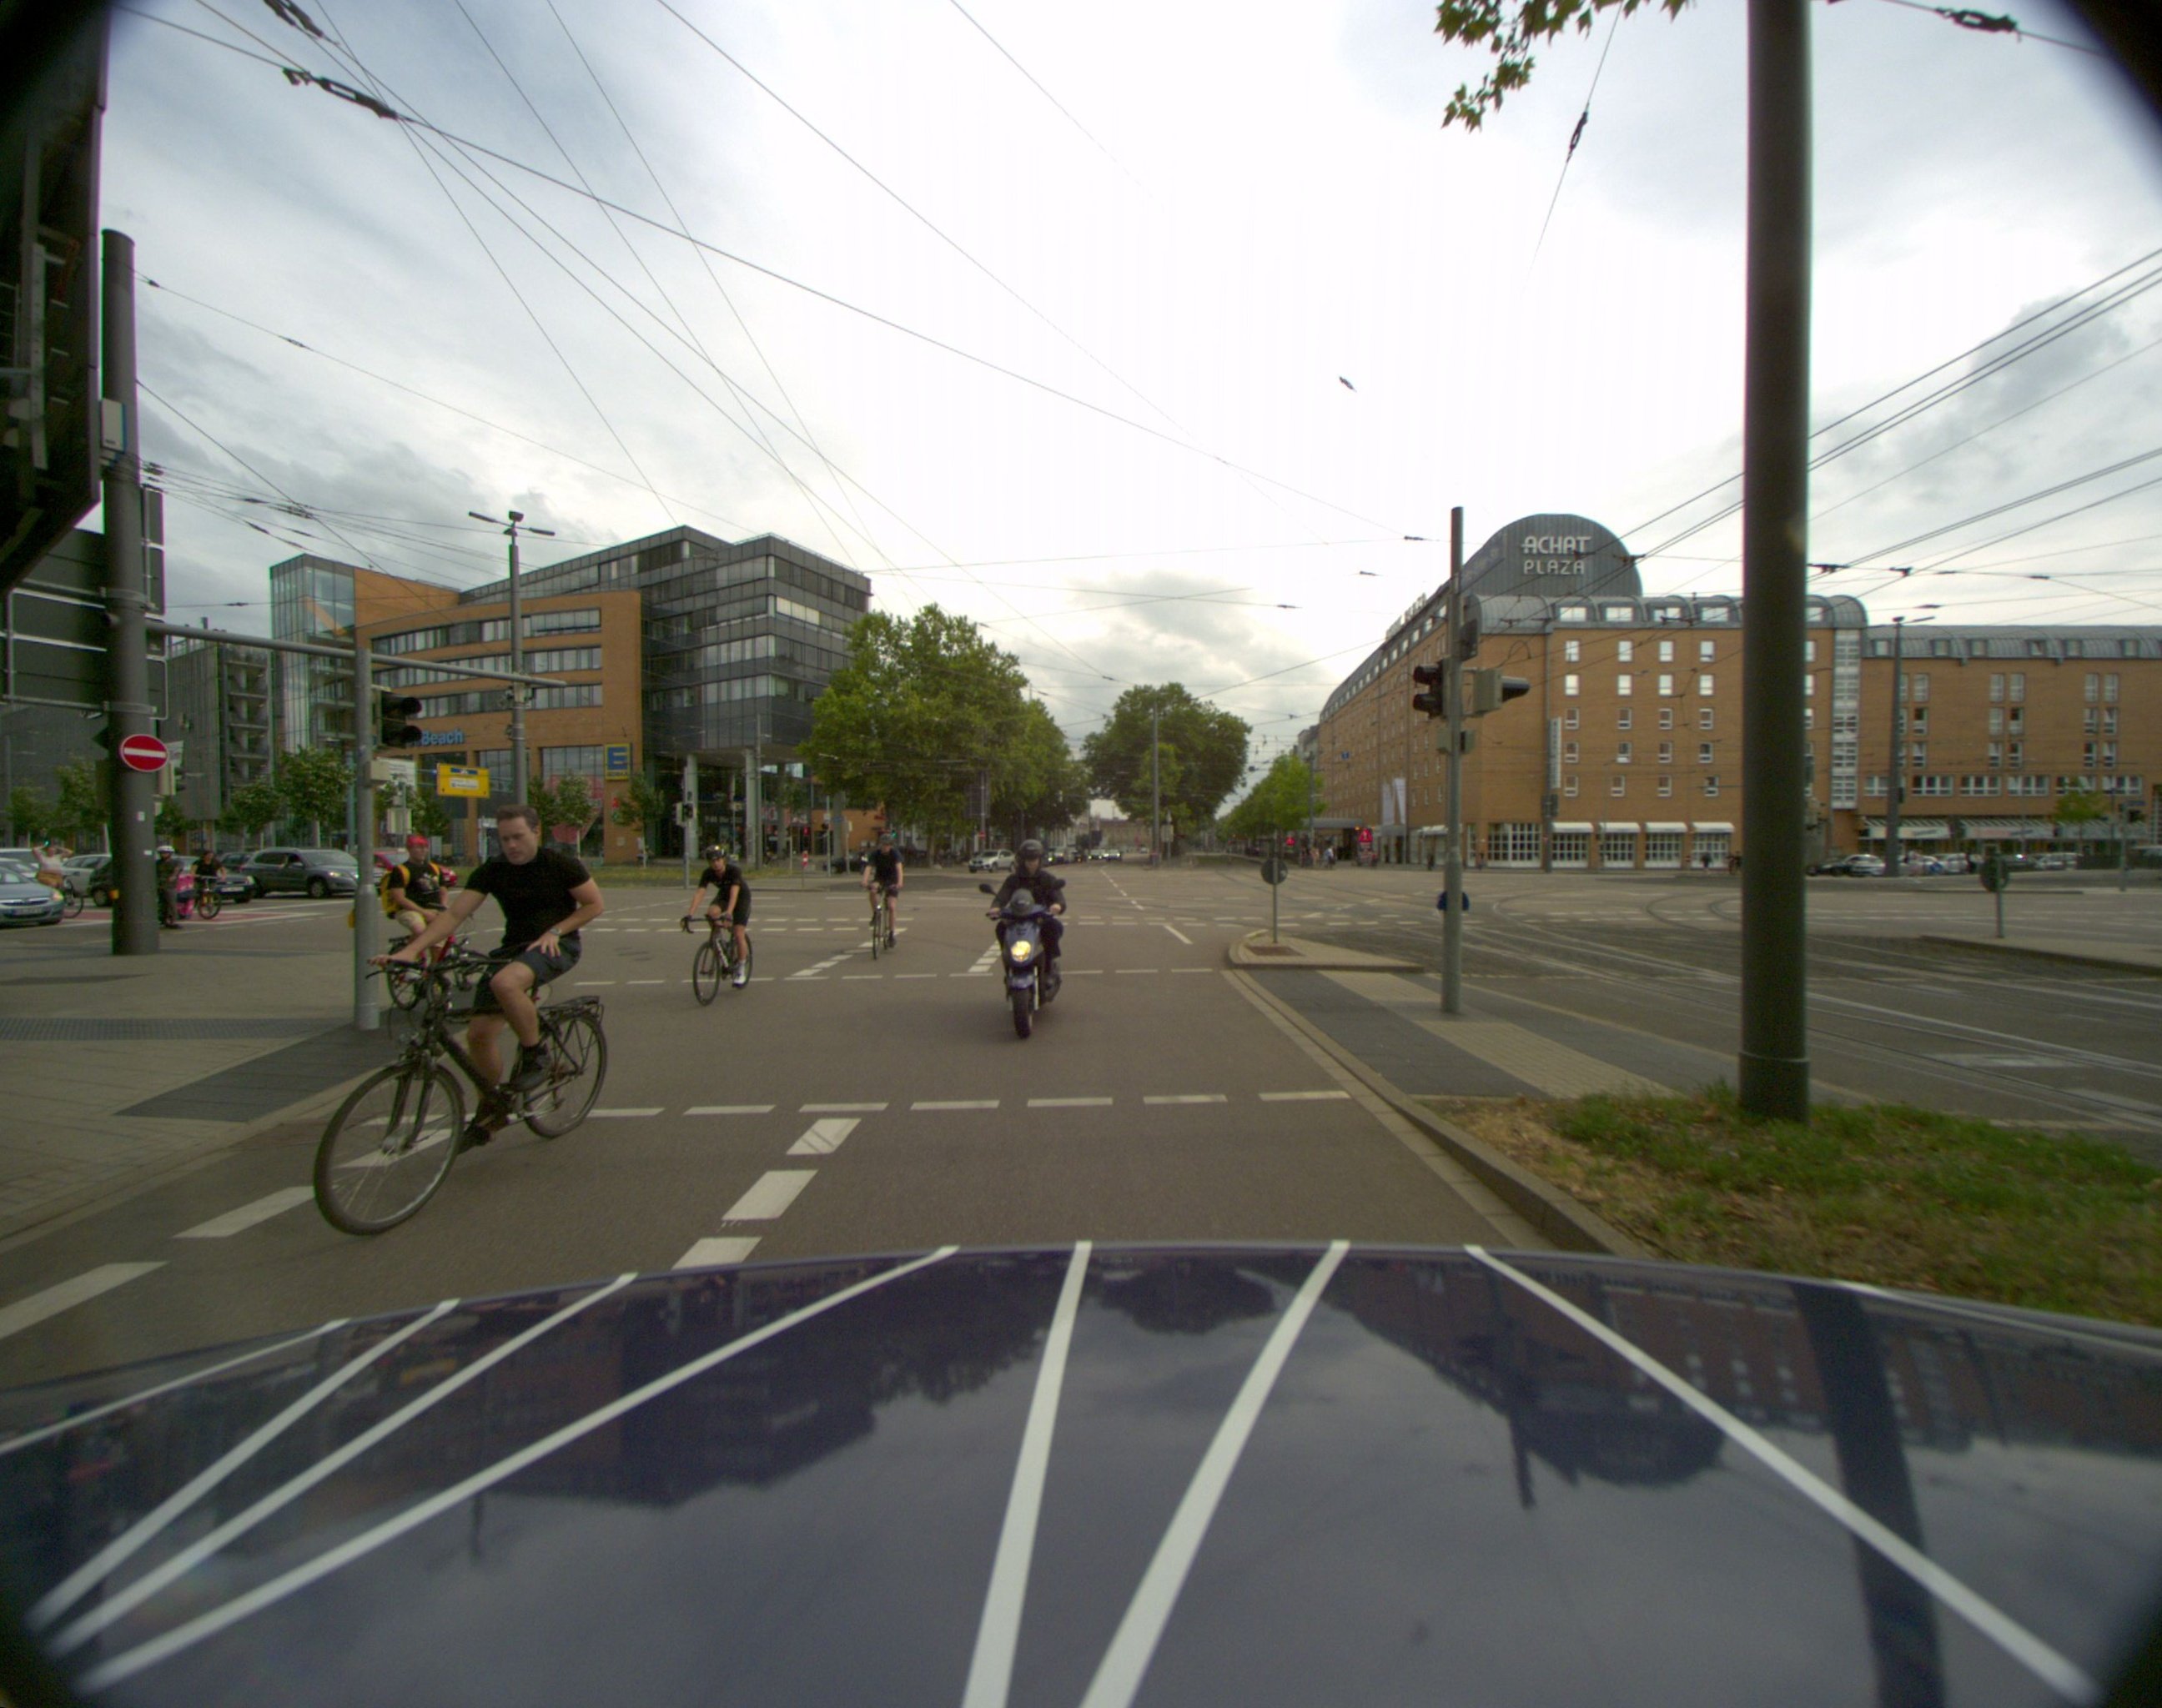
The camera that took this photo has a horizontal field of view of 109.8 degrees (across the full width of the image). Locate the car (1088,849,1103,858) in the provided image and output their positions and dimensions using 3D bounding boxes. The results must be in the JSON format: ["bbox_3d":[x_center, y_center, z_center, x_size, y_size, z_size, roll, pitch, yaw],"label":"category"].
[{"bbox_3d":[2.216,-0.083,112.765,1.711,1.270,4.002,1,2,9],"label":"car"}]

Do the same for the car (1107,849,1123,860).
[{"bbox_3d":[4.381,0.117,98.382,1.845,1.369,3.835,0,0,6],"label":"car"}]

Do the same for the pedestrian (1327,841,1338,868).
[{"bbox_3d":[19.840,0.015,59.962,0.564,2.118,0.534,0,2,-7],"label":"pedestrian"}]

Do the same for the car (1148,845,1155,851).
[{"bbox_3d":[21.808,-1.759,234.280,1.668,1.699,3.998,0,2,0],"label":"car"}]

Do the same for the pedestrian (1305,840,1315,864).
[{"bbox_3d":[18.751,-0.154,62.227,0.693,1.941,0.534,0,2,0],"label":"pedestrian"}]

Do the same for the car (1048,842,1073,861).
[{"bbox_3d":[-2.244,-0.295,83.083,1.997,2.002,5.438,1,1,6],"label":"car"}]

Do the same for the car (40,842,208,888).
[{"bbox_3d":[-32.863,0.349,26.136,3.994,1.453,1.824,0,3,9],"label":"car"}]

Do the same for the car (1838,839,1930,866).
[{"bbox_3d":[51.049,-0.104,48.350,3.997,1.674,1.800,0,2,-1],"label":"car"}]

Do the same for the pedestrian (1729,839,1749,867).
[{"bbox_3d":[41.453,-0.052,47.868,0.578,1.722,0.750,0,2,-5],"label":"pedestrian"}]

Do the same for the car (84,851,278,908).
[{"bbox_3d":[-26.269,0.705,22.233,3.994,1.524,1.824,1,2,9],"label":"car"}]

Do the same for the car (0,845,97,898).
[{"bbox_3d":[-32.844,0.502,23.103,3.994,1.453,1.824,0,3,9],"label":"car"}]

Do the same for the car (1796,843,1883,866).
[{"bbox_3d":[50.676,0.012,50.805,3.997,1.470,1.800,0,1,-1],"label":"car"}]

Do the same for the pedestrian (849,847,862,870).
[{"bbox_3d":[-16.236,0.311,54.666,0.587,1.642,0.744,1,2,10],"label":"pedestrian"}]

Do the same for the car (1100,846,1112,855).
[{"bbox_3d":[4.035,-0.577,122.832,1.574,1.270,3.733,1,2,9],"label":"car"}]

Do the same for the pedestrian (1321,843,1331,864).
[{"bbox_3d":[19.821,-0.058,61.414,0.564,1.696,0.578,0,2,-7],"label":"pedestrian"}]

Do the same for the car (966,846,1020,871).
[{"bbox_3d":[-6.243,0.293,54.729,1.961,1.651,4.644,-1,1,20],"label":"car"}]

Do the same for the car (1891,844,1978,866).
[{"bbox_3d":[57.616,0.076,51.317,3.997,1.434,1.701,0,2,-2],"label":"car"}]

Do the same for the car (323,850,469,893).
[{"bbox_3d":[-25.012,0.613,27.814,3.994,1.425,1.824,0,3,9],"label":"car"}]

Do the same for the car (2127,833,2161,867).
[{"bbox_3d":[74.329,-0.271,51.391,4.832,2.218,1.701,0,2,-2],"label":"car"}]

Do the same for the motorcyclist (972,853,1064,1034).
[{"bbox_3d":[-0.544,0.764,6.964,0.761,1.511,1.017,0,2,0],"label":"motorcyclist"}]

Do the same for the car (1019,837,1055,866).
[{"bbox_3d":[-3.860,-0.255,68.122,2.174,2.442,6.998,0,1,5],"label":"car"}]

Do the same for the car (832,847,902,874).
[{"bbox_3d":[-14.205,0.406,50.626,4.179,1.728,1.963,0,1,-6],"label":"car"}]

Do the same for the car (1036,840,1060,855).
[{"bbox_3d":[-3.277,-0.663,76.020,1.756,1.410,4.275,1,2,7],"label":"car"}]

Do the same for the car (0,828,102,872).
[{"bbox_3d":[-38.186,-0.175,27.385,3.994,1.524,1.824,0,3,9],"label":"car"}]

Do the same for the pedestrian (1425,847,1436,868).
[{"bbox_3d":[28.457,0.279,61.854,0.563,1.696,0.534,0,2,2],"label":"pedestrian"}]

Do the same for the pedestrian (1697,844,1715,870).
[{"bbox_3d":[41.825,0.205,50.854,0.578,1.722,0.750,0,1,-5],"label":"pedestrian"}]

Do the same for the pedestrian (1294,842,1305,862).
[{"bbox_3d":[18.570,-0.159,64.578,0.684,1.696,0.534,0,2,-7],"label":"pedestrian"}]

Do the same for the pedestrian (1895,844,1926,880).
[{"bbox_3d":[39.697,0.377,36.370,0.578,1.722,0.751,0,2,0],"label":"pedestrian"}]

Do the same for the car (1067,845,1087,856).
[{"bbox_3d":[-0.477,-0.467,98.293,1.997,1.270,4.002,1,2,9],"label":"car"}]

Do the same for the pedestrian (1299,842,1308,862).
[{"bbox_3d":[19.384,-0.175,66.187,0.564,1.696,0.534,0,2,-7],"label":"pedestrian"}]

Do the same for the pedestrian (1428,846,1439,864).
[{"bbox_3d":[30.267,0.088,65.296,0.536,1.498,0.648,-1,3,-33],"label":"pedestrian"}]

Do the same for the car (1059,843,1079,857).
[{"bbox_3d":[-1.423,-0.476,90.418,1.914,1.534,4.094,1,1,6],"label":"car"}]

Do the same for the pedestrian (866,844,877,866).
[{"bbox_3d":[-16.452,0.086,59.592,0.587,1.722,0.744,0,1,10],"label":"pedestrian"}]

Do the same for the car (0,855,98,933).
[{"bbox_3d":[-24.272,0.834,16.501,3.994,1.524,1.824,0,3,9],"label":"car"}]

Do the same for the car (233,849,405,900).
[{"bbox_3d":[-24.902,0.624,24.897,4.213,1.524,1.824,0,3,9],"label":"car"}]
